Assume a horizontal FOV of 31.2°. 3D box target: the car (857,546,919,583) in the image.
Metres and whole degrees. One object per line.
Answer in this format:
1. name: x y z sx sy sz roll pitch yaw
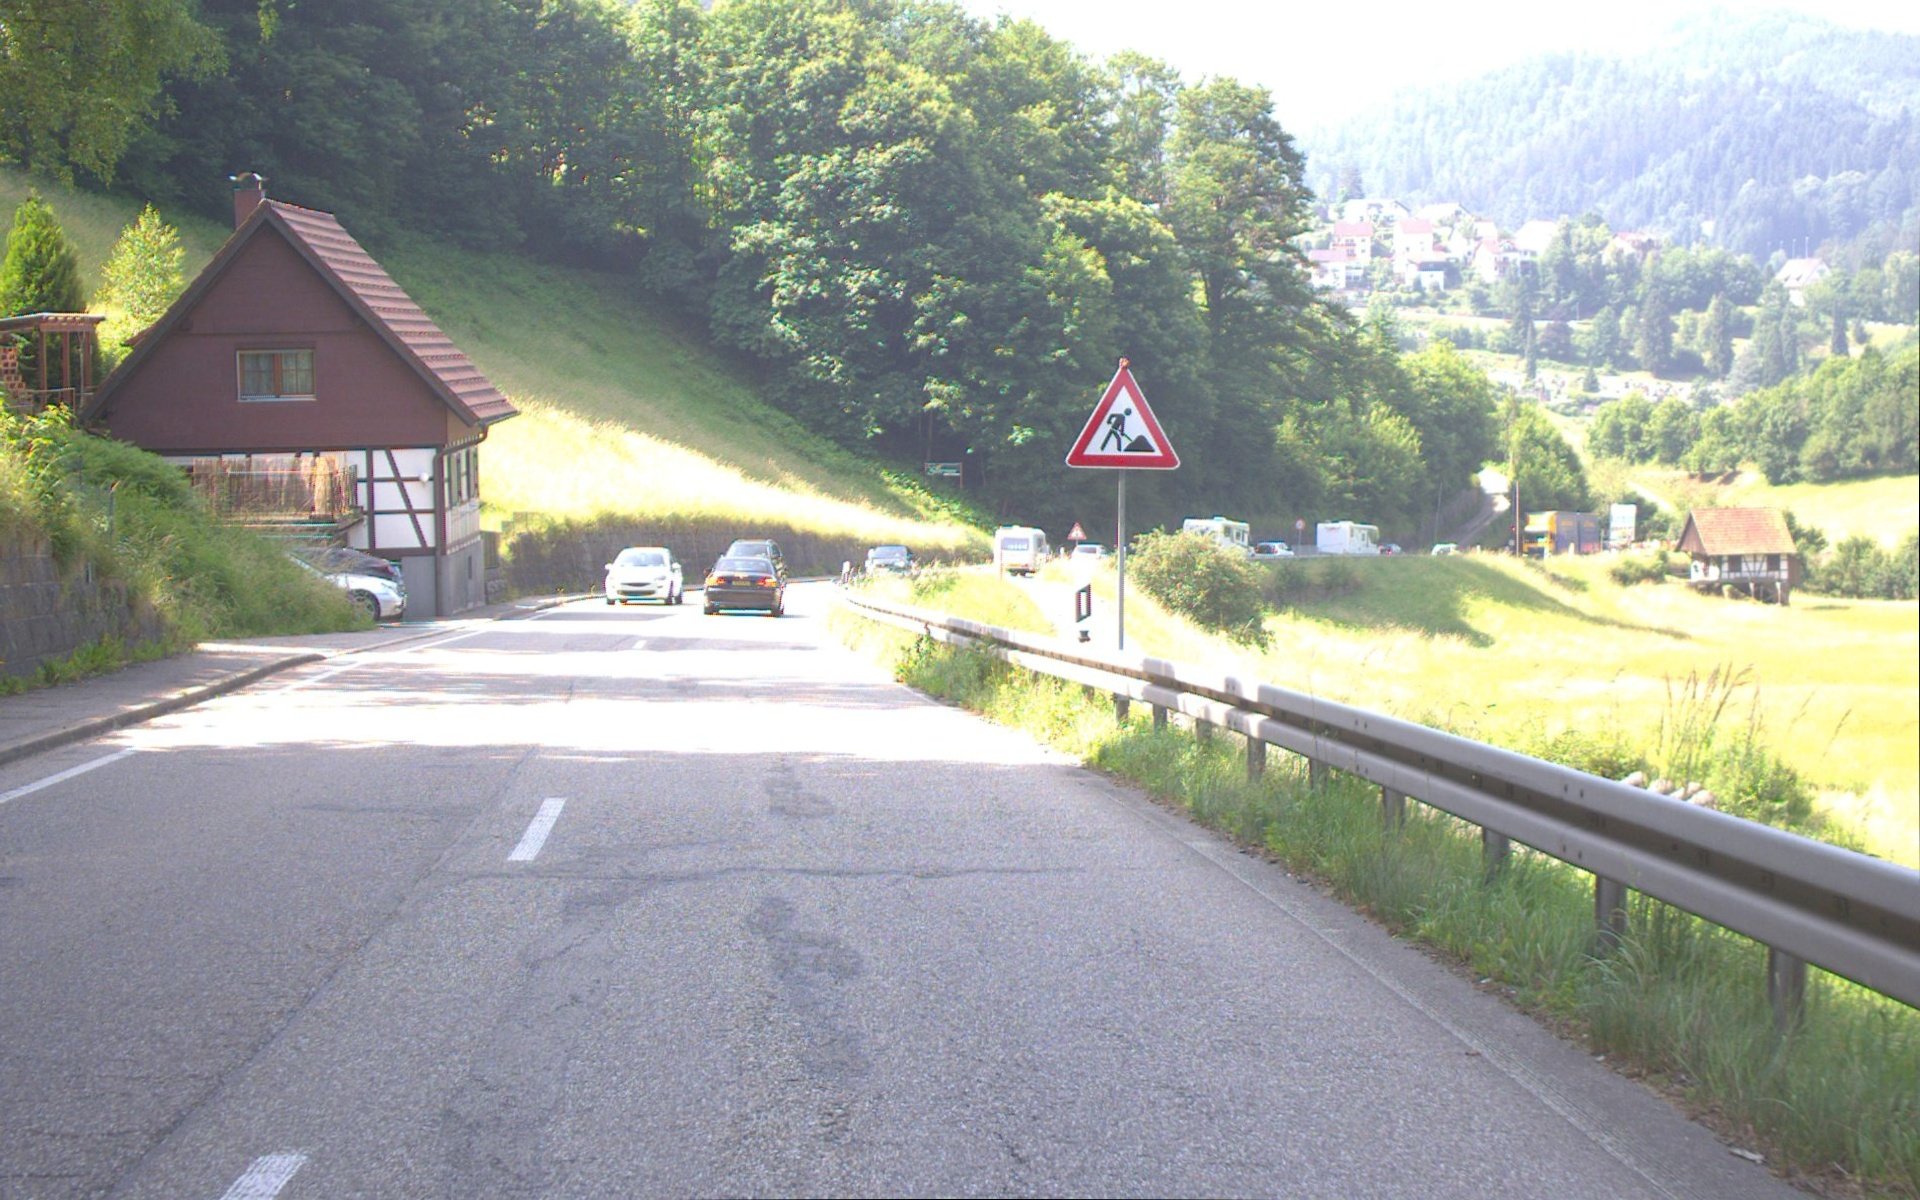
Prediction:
1. car: -2.920 -1.451 140.694 1.765 1.391 4.144 2 2 10

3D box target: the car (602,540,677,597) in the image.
1. car: -8.279 -0.811 89.006 1.777 1.432 4.001 0 0 -3

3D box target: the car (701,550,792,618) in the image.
1. car: -4.846 -0.376 78.331 1.771 1.331 3.767 2 3 0

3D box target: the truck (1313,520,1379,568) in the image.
1. truck: 24.901 -3.585 221.390 2.240 2.794 6.223 3 1 25

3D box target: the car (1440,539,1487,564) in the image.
1. car: 35.181 -3.374 240.013 1.910 1.481 3.993 5 2 29

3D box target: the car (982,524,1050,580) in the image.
1. car: 2.538 -2.179 154.697 1.995 2.344 4.911 3 3 13

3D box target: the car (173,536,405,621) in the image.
1. car: -12.085 -0.407 62.089 3.816 1.412 1.857 1 2 0

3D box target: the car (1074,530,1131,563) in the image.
1. car: 7.287 -2.731 175.873 1.995 1.479 3.997 4 3 15

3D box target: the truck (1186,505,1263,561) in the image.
1. truck: 15.283 -3.887 198.233 2.793 2.987 6.863 5 3 17

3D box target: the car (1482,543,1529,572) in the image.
1. car: 39.768 -3.086 250.563 1.997 1.919 3.993 5 2 28

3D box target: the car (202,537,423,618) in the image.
1. car: -12.232 -0.440 65.096 3.816 1.428 1.864 1 2 0
